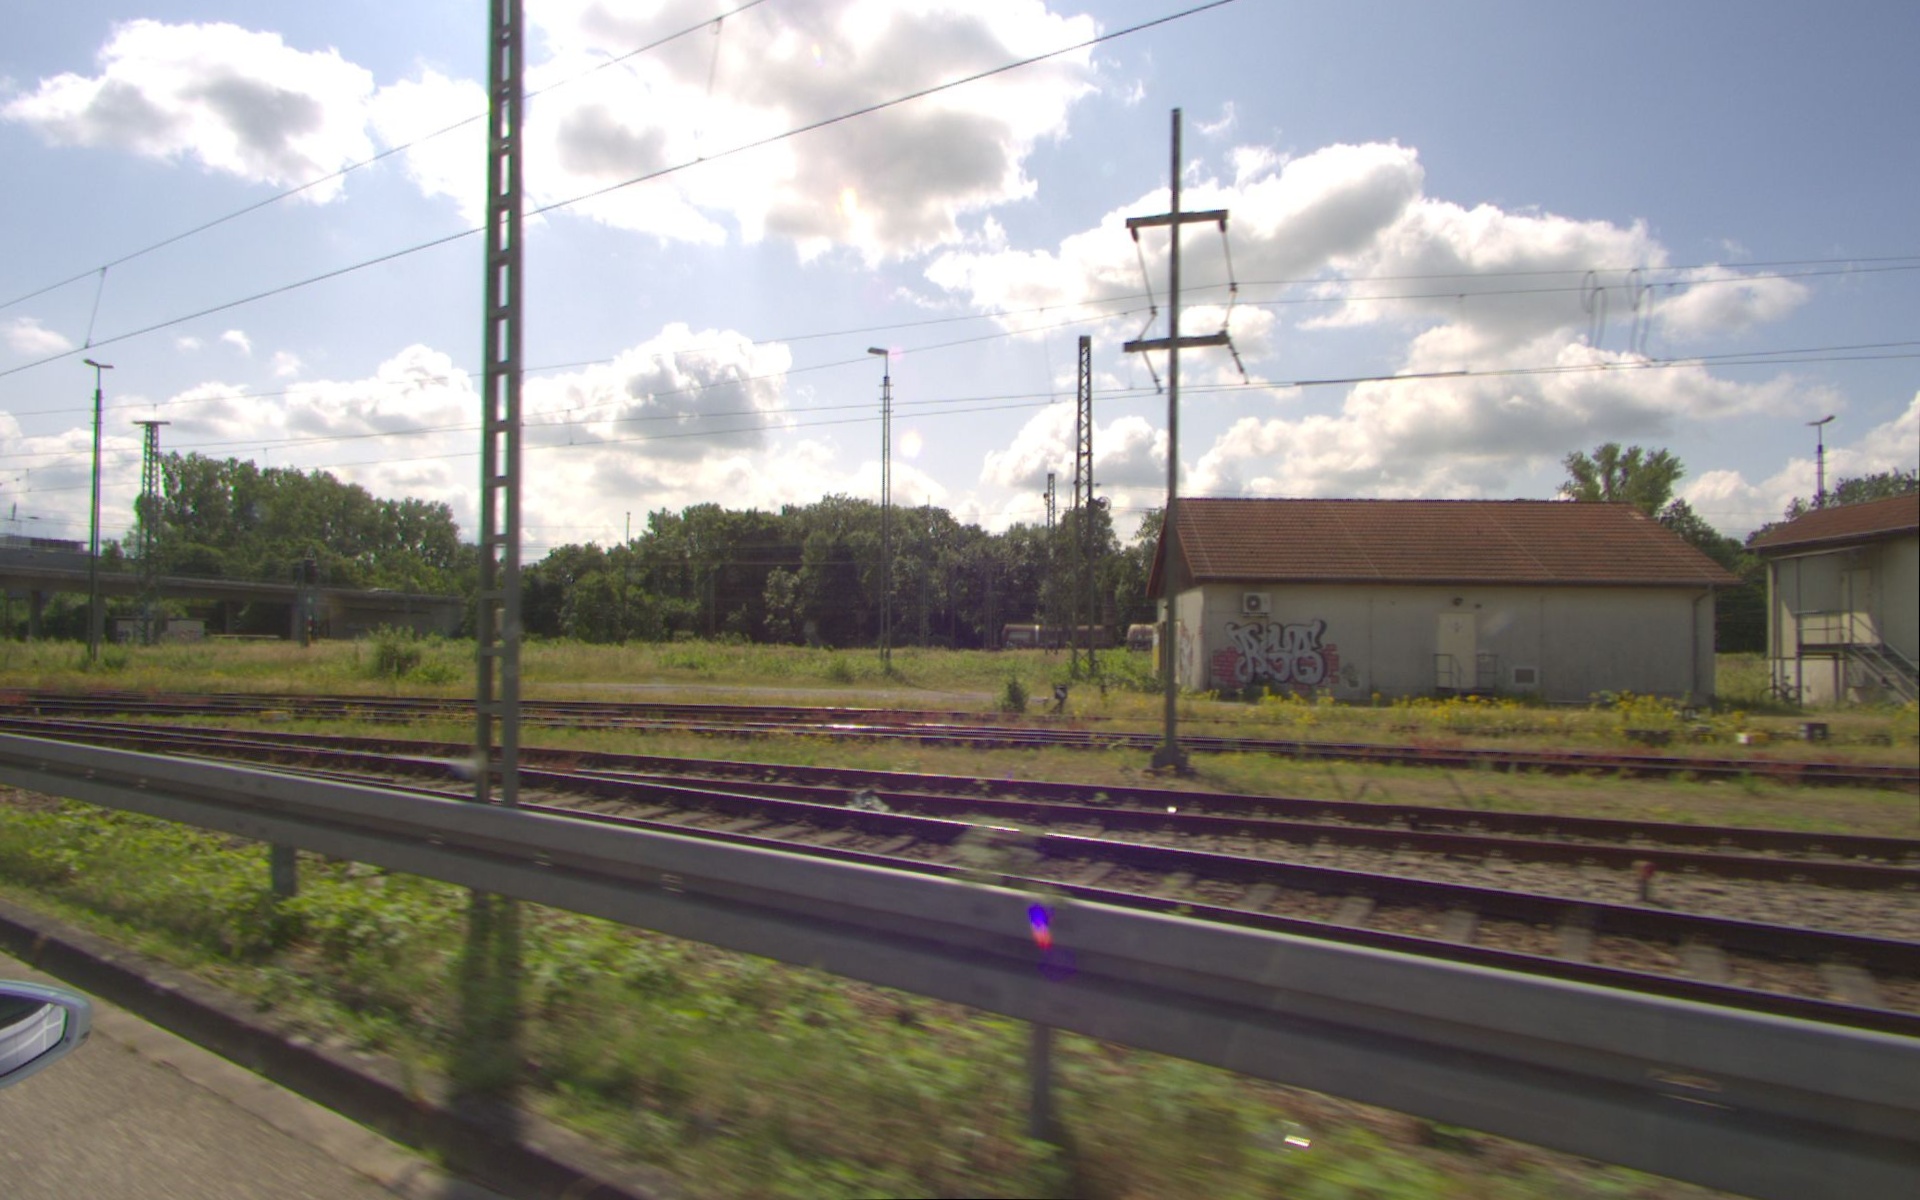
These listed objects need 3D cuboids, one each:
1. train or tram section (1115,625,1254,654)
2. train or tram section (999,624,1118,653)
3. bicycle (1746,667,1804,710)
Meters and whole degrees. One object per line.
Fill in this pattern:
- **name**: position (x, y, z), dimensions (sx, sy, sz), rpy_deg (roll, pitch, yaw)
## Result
- **train or tram section**: position (26.004, 4.605, 116.340), dimensions (15.452, 3.347, 3.036), rpy_deg (0, -2, 3)
- **train or tram section**: position (11.438, 4.530, 117.008), dimensions (13.667, 3.347, 3.036), rpy_deg (0, -2, 3)
- **bicycle**: position (24.810, 2.679, 30.502), dimensions (0.405, 1.219, 1.875), rpy_deg (1, -2, 6)
